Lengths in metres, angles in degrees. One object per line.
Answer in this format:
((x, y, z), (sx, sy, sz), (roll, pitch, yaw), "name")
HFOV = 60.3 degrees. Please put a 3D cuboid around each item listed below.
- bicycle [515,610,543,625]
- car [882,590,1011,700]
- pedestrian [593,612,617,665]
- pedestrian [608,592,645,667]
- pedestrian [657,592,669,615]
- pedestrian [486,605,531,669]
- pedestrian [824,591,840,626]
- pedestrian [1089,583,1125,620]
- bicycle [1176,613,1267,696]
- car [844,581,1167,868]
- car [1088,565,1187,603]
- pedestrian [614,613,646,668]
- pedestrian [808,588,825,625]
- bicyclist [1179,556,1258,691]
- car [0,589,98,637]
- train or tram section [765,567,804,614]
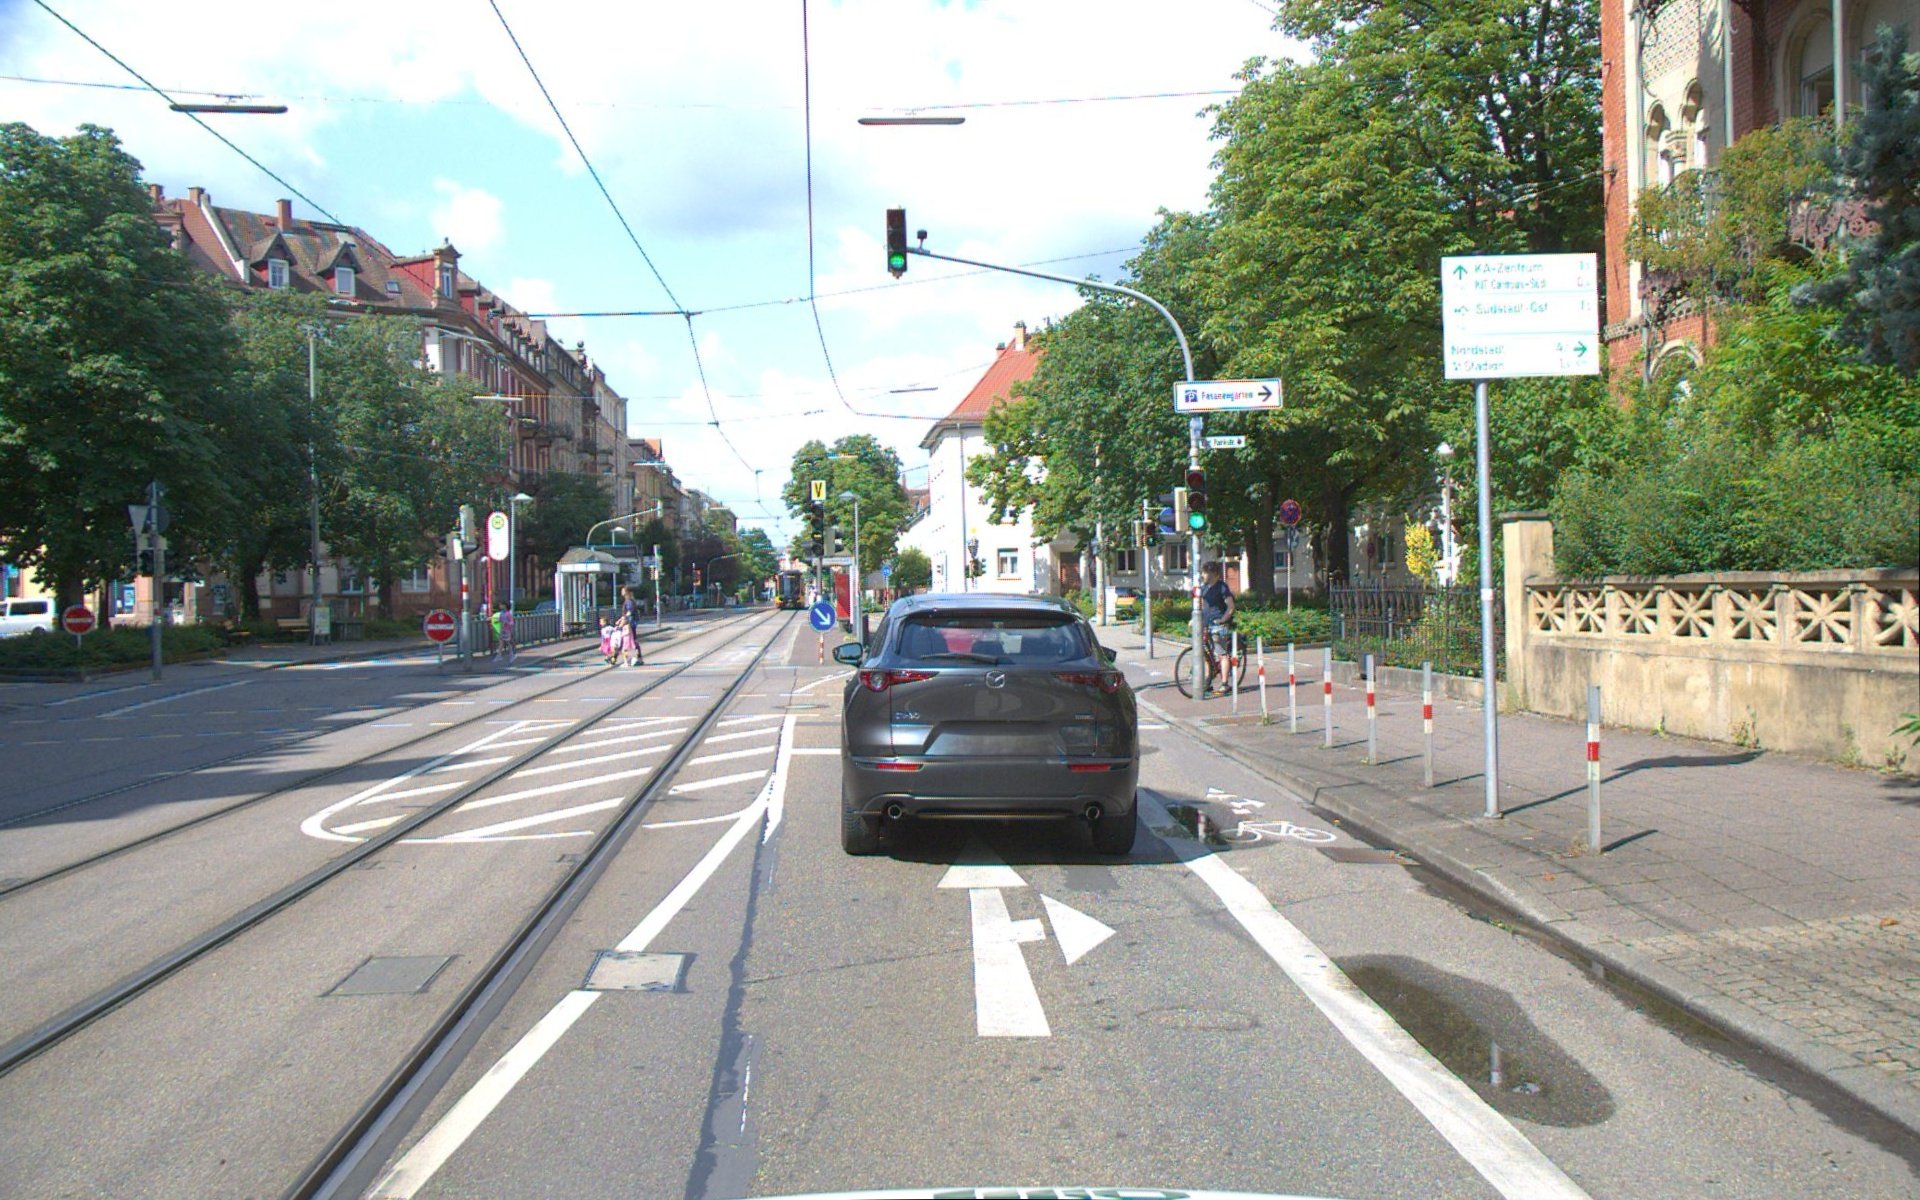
((-23.496, 0.931, 90.150), (0.378, 0.760, 1.707), (-1, 0, 31), "bicycle")
((-0.234, 0.608, 24.356), (1.739, 1.489, 3.841), (0, 0, -2), "car")
((-7.857, 0.843, 36.597), (0.429, 1.127, 0.422), (-3, 0, -10), "pedestrian")
((-7.259, 0.630, 36.016), (0.714, 1.593, 0.797), (-1, 0, -10), "pedestrian")
((-22.500, 0.245, 125.495), (0.772, 1.718, 0.731), (-1, 0, -3), "pedestrian")
((-9.916, 0.809, 36.371), (0.810, 1.326, 0.716), (-4, 0, -10), "pedestrian")
((-5.782, 0.395, 74.740), (0.654, 1.573, 0.580), (-1, 0, -6), "pedestrian")
((5.520, 0.064, 62.052), (1.170, 1.291, 0.556), (-4, 0, -10), "pedestrian")
((3.711, 0.753, 23.383), (0.382, 1.053, 1.836), (-1, 1, 39), "bicycle")
((0.222, 0.685, 11.014), (1.746, 1.540, 3.999), (1, 0, -1), "car")
((8.084, -0.723, 75.381), (4.090, 1.536, 1.844), (-1, 2, 37), "car")
((-7.070, 0.863, 35.436), (0.629, 1.133, 0.443), (-1, 0, -10), "pedestrian")
((-6.654, 0.300, 76.534), (0.756, 1.704, 0.667), (-1, 0, -6), "pedestrian")
((3.637, 0.320, 23.285), (0.724, 1.851, 0.813), (-1, 0, -27), "bicyclist")
((-40.352, 0.583, 73.044), (3.852, 2.023, 1.857), (-1, 0, 19), "car")
((-16.228, -0.812, 153.732), (2.938, 4.053, 13.796), (-1, -1, -4), "train or tram section")
